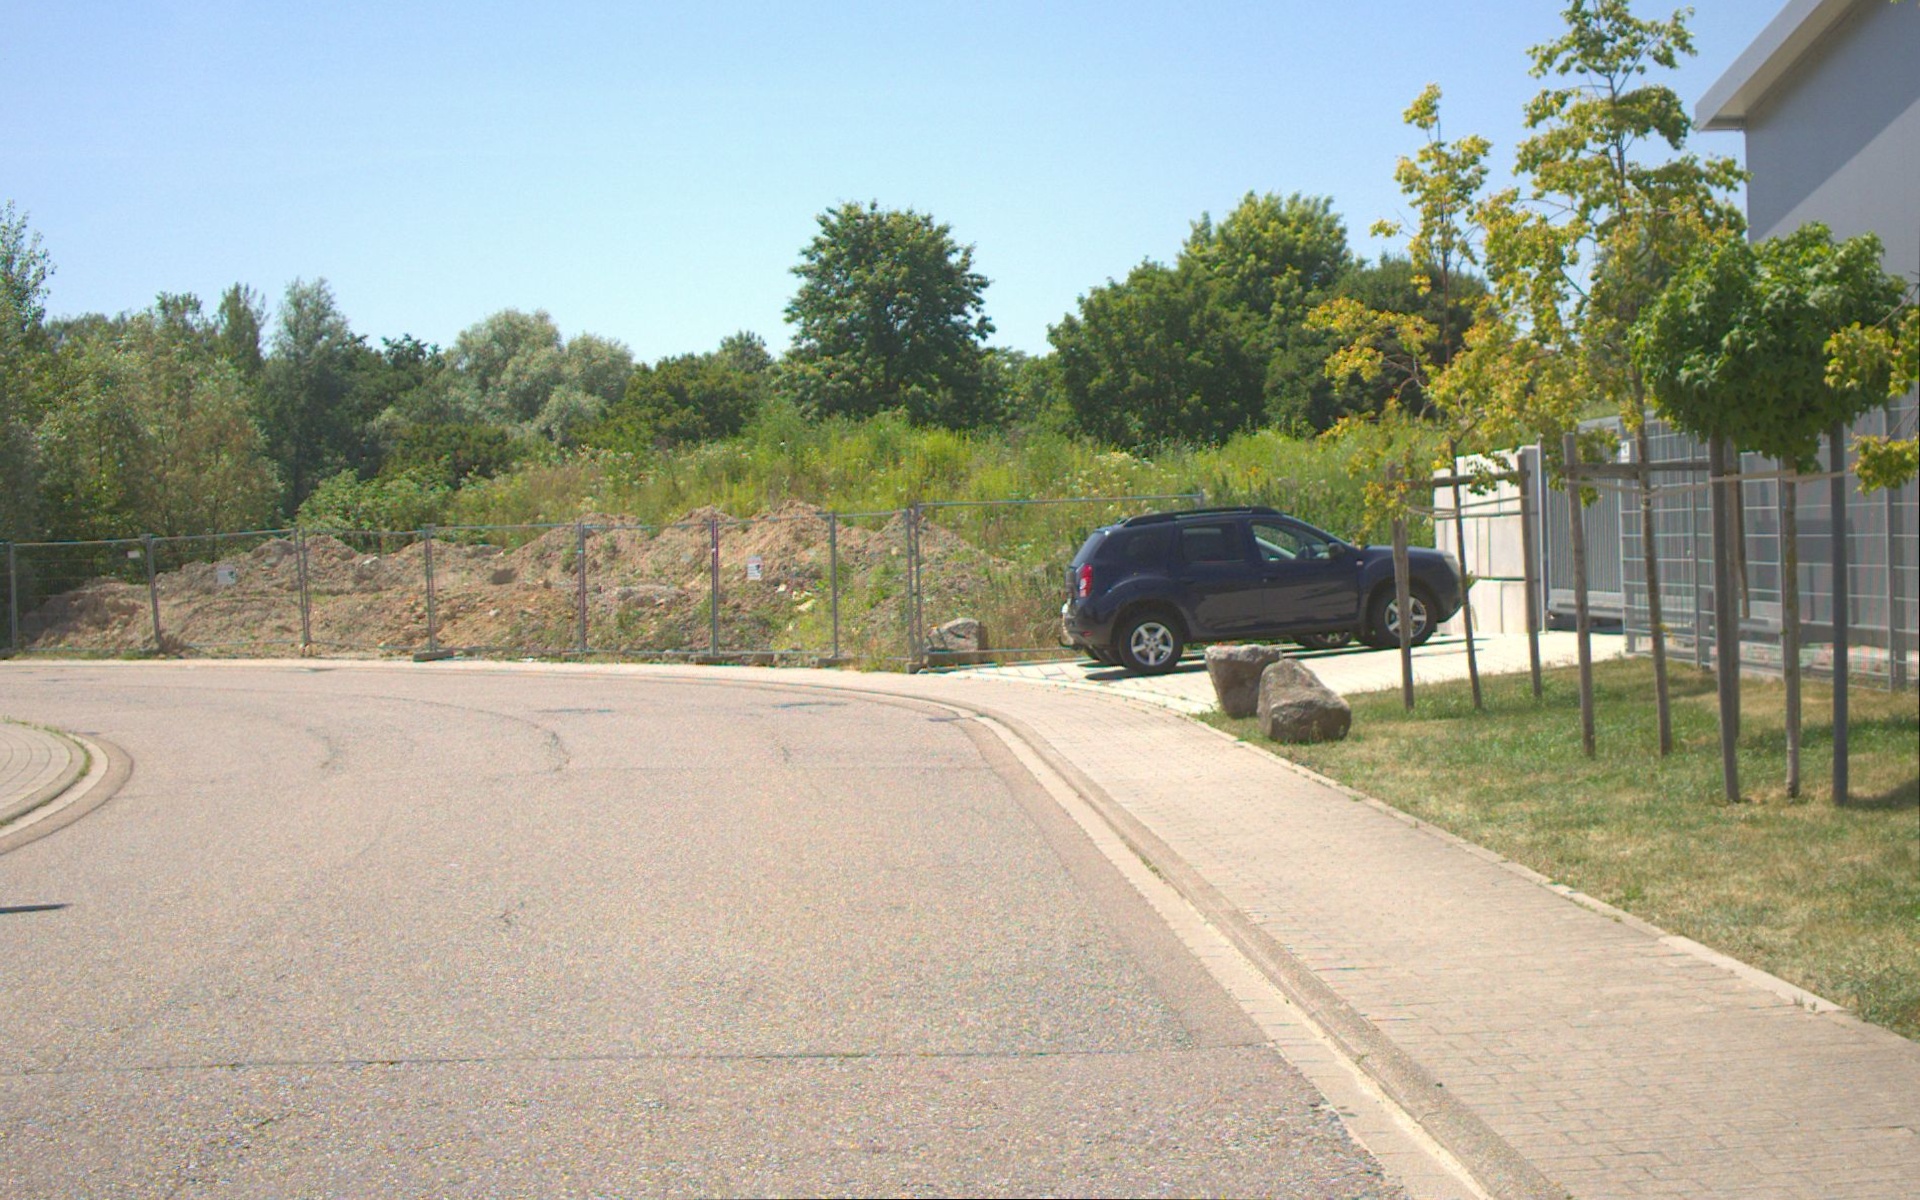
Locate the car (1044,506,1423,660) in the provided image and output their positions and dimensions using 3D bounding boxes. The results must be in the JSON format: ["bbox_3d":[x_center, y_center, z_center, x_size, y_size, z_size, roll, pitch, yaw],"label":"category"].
[{"bbox_3d":[3.075,-0.210,39.186,4.009,1.457,1.893,-4,1,-3],"label":"car"}]

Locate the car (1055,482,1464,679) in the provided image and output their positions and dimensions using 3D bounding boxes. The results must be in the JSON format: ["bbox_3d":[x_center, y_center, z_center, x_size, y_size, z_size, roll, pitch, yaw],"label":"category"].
[{"bbox_3d":[3.150,-0.221,36.742,4.009,1.649,1.858,-6,1,-2],"label":"car"}]
